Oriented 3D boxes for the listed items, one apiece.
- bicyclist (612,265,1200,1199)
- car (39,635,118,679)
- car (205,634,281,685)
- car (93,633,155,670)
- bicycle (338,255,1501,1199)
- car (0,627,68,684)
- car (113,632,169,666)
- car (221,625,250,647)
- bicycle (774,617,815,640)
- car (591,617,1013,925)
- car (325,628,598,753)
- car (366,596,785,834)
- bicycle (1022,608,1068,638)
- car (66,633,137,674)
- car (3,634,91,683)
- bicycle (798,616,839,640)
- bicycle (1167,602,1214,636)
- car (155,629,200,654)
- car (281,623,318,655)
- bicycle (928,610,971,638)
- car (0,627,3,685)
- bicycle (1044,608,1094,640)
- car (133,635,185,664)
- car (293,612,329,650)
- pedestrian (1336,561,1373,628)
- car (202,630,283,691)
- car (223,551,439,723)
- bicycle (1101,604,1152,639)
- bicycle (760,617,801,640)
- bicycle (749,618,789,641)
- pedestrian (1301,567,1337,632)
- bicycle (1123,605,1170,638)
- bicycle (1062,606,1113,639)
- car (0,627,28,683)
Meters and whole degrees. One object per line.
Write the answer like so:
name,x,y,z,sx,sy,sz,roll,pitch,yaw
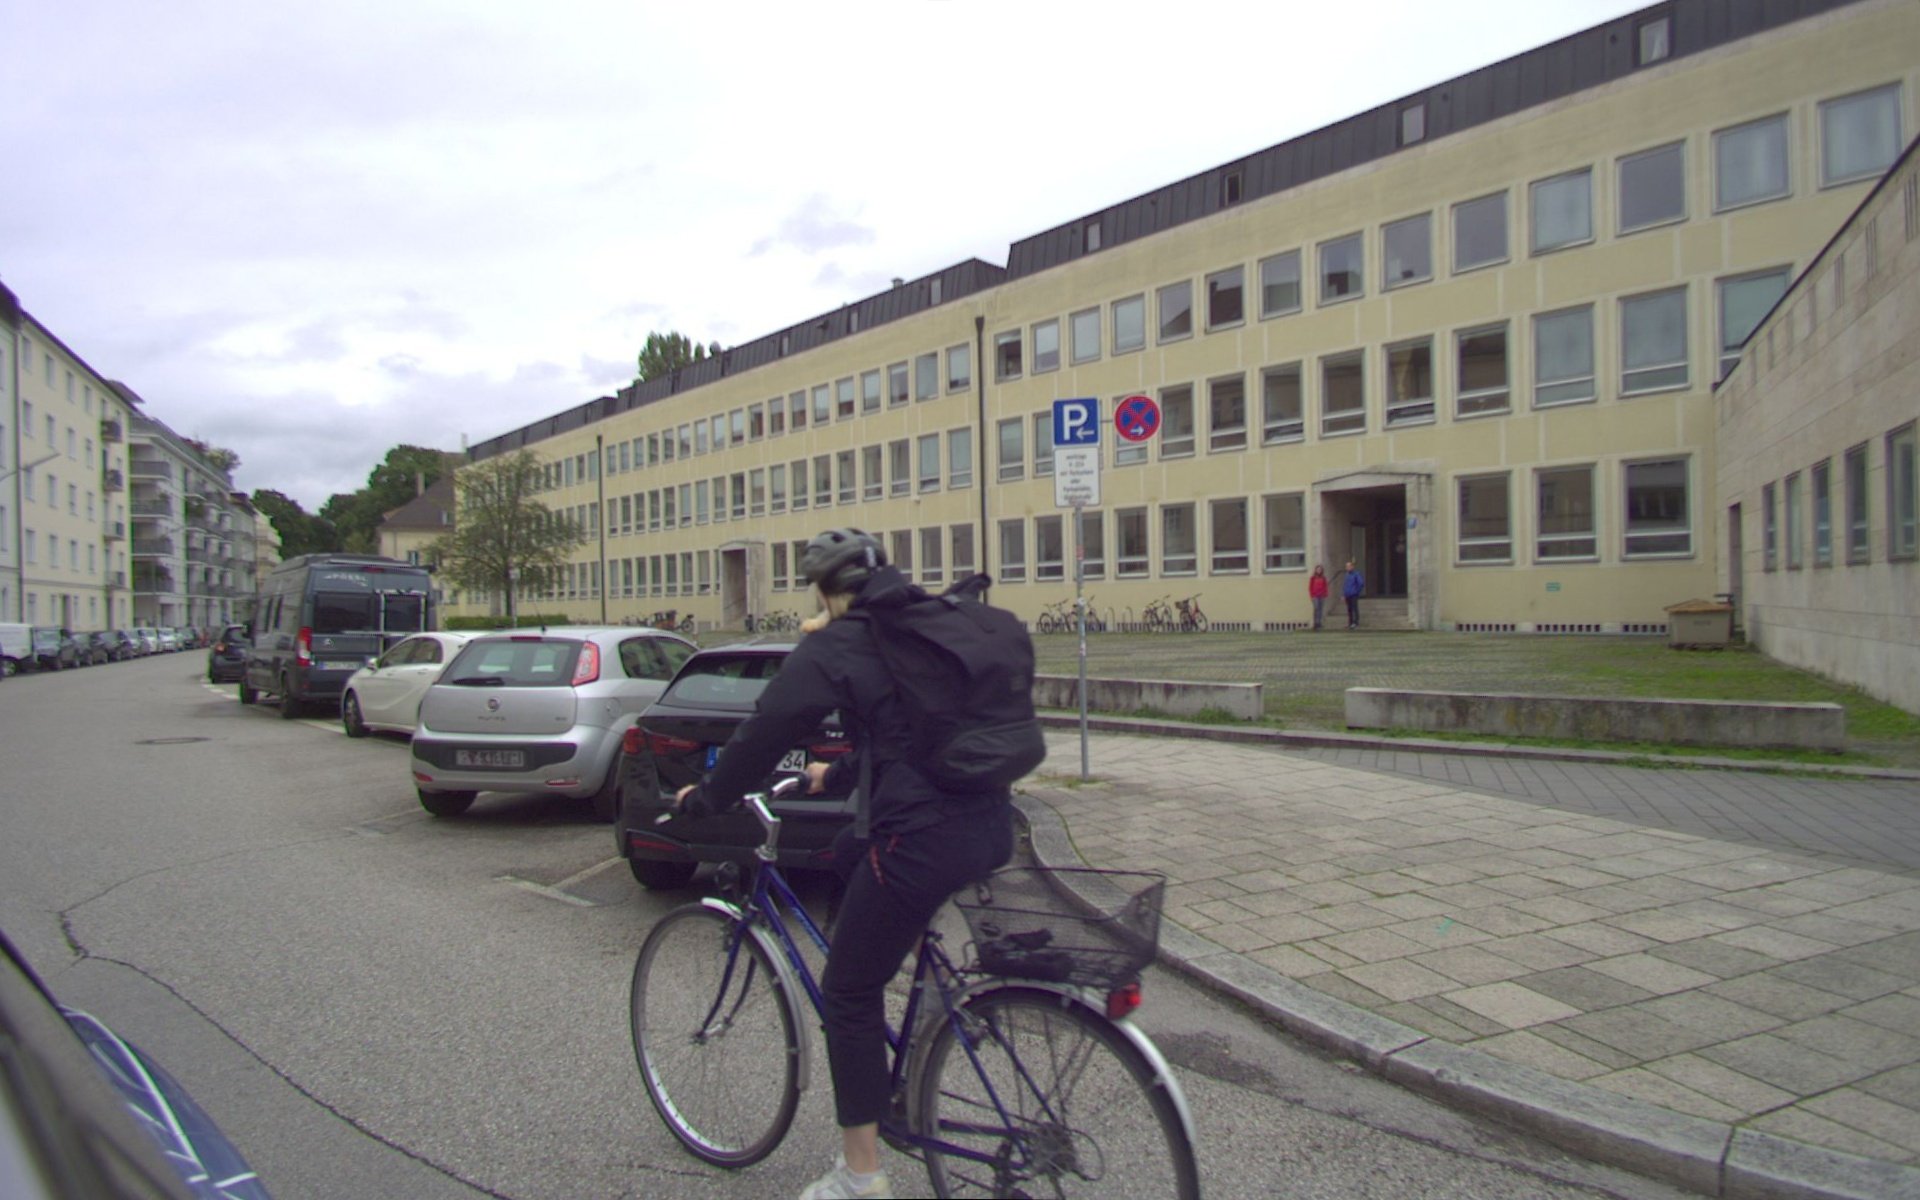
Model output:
bicyclist,-0.136,0.338,2.242,1.030,1.730,0.740,-3,-2,39
car,-37.113,2.358,42.701,1.753,1.603,3.713,-3,1,-30
car,-21.403,1.732,30.267,1.698,1.374,4.223,2,-2,-35
car,-41.470,2.518,50.274,1.753,1.603,3.713,-3,1,-30
bicycle,-0.487,0.508,2.522,3.111,1.735,0.787,-3,-4,39
car,-32.369,1.895,34.705,1.753,1.743,4.403,-3,1,-30
car,-44.407,2.633,54.939,1.753,1.603,3.713,-3,1,-30
car,-63.454,3.097,88.679,1.612,1.749,3.892,-3,1,-30
bicycle,-7.420,1.266,45.459,0.438,0.923,1.880,-2,1,44
car,-0.654,0.842,6.686,1.729,1.384,3.998,0,-2,7
car,-6.685,1.110,13.378,4.141,1.398,1.807,-2,-4,42
car,-3.058,0.816,9.038,1.657,1.541,3.971,-3,1,10
bicycle,2.896,0.772,34.439,0.438,0.923,1.880,-2,1,44
car,-39.177,2.411,46.266,1.753,1.603,3.713,-3,1,-30
car,-35.162,2.217,39.075,1.753,1.603,3.713,-3,1,-30
bicycle,-6.189,1.210,44.354,0.438,0.923,1.880,-2,1,44
bicycle,6.989,0.564,30.606,0.438,0.923,1.880,-2,1,44
car,-49.305,2.607,63.807,1.714,1.385,4.034,-3,1,-31
car,-42.786,2.497,65.633,1.917,1.991,4.367,0,-1,-32
bicycle,-0.391,0.918,38.866,0.438,0.923,1.880,-2,1,44
car,-28.770,1.656,28.233,1.901,1.743,4.701,-3,-1,-30
bicycle,3.652,0.796,33.874,1.856,0.947,0.533,-4,1,-42
car,-46.491,2.841,58.823,1.811,1.469,4.034,-3,1,-31
car,-49.391,2.326,77.085,1.966,2.738,4.975,1,-1,-30
pedestrian,10.639,-0.158,27.297,0.646,1.757,0.706,-2,1,41
car,-18.910,1.552,26.754,1.644,1.471,2.875,2,-2,-34
car,-11.526,0.642,18.286,2.118,2.594,6.217,1,-2,-43
bicycle,5.288,0.681,32.099,1.856,0.986,0.533,-4,1,-42
bicycle,-8.181,1.290,46.172,0.438,0.923,1.880,-2,1,44
bicycle,-8.847,1.363,46.836,0.438,0.923,1.880,-2,1,44
pedestrian,9.914,-0.020,27.940,0.646,1.757,0.706,-2,1,41
bicycle,5.838,0.669,31.543,0.438,0.923,1.880,-2,1,44
bicycle,4.207,0.722,33.233,1.856,0.975,0.533,-4,1,-42
car,-33.159,1.816,32.281,1.884,1.785,4.858,-1,-1,41
